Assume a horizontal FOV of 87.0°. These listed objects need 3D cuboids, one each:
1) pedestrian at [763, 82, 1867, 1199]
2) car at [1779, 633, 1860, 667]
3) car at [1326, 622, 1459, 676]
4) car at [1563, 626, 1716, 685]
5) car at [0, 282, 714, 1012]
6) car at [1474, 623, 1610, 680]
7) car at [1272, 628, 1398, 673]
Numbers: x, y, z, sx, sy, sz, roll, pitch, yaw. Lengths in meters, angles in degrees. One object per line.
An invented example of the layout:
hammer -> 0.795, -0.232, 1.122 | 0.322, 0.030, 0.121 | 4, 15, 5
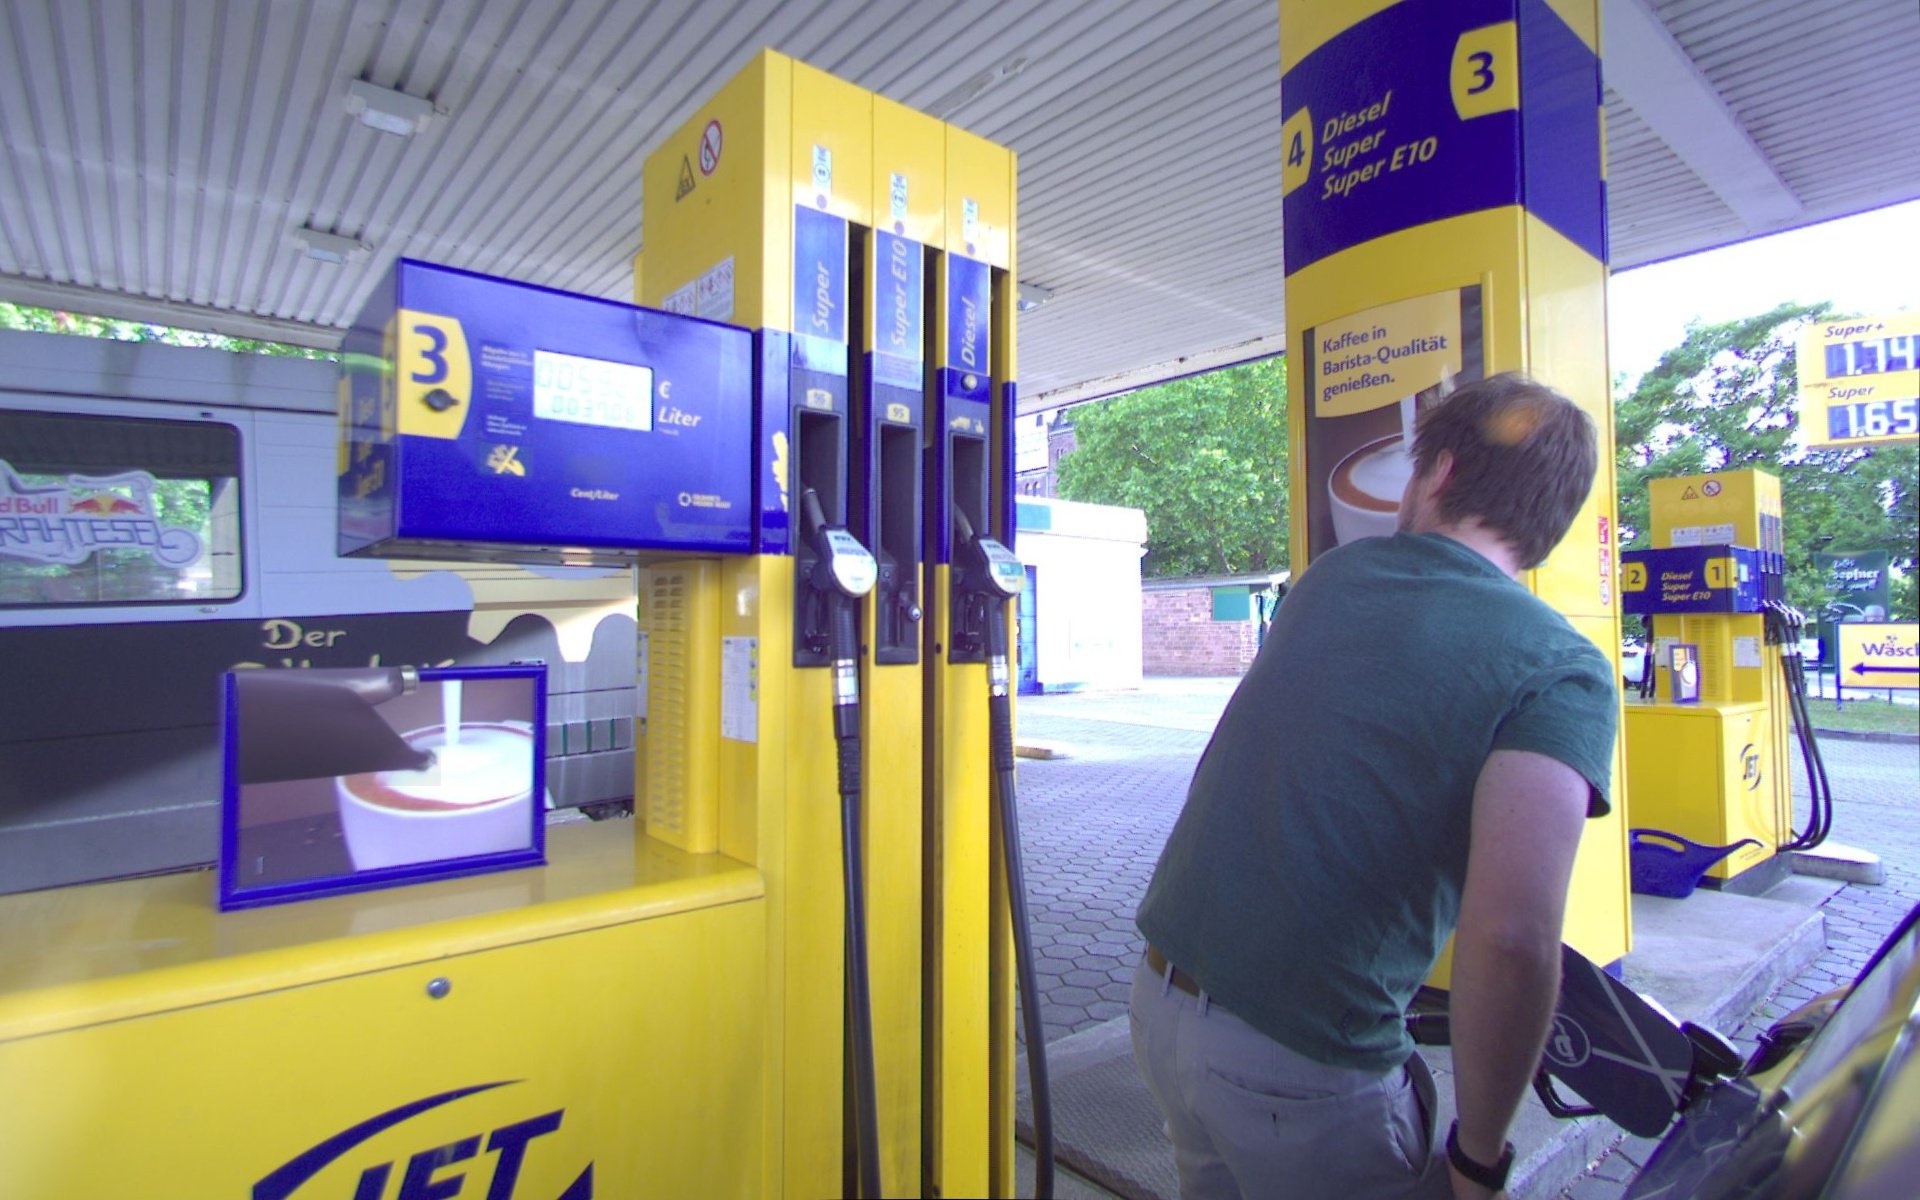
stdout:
pedestrian -> 0.489, 0.515, 1.430 | 1.161, 1.750, 0.993 | -2, 1, -38
car -> 42.390, 2.424, 50.034 | 1.845, 1.528, 4.782 | -3, -2, 26
car -> 13.777, 1.563, 32.178 | 4.112, 1.606, 1.826 | 2, -3, -31
car -> 18.250, 1.483, 27.143 | 4.112, 1.478, 1.826 | 2, -3, -31
car -> -4.099, 0.187, 4.862 | 5.248, 2.760, 2.201 | 0, -1, -39
car -> 17.766, 1.573, 30.860 | 4.112, 1.606, 1.826 | 2, -3, -31
car -> 12.638, 1.693, 34.041 | 4.112, 1.453, 1.826 | 2, -3, -31
